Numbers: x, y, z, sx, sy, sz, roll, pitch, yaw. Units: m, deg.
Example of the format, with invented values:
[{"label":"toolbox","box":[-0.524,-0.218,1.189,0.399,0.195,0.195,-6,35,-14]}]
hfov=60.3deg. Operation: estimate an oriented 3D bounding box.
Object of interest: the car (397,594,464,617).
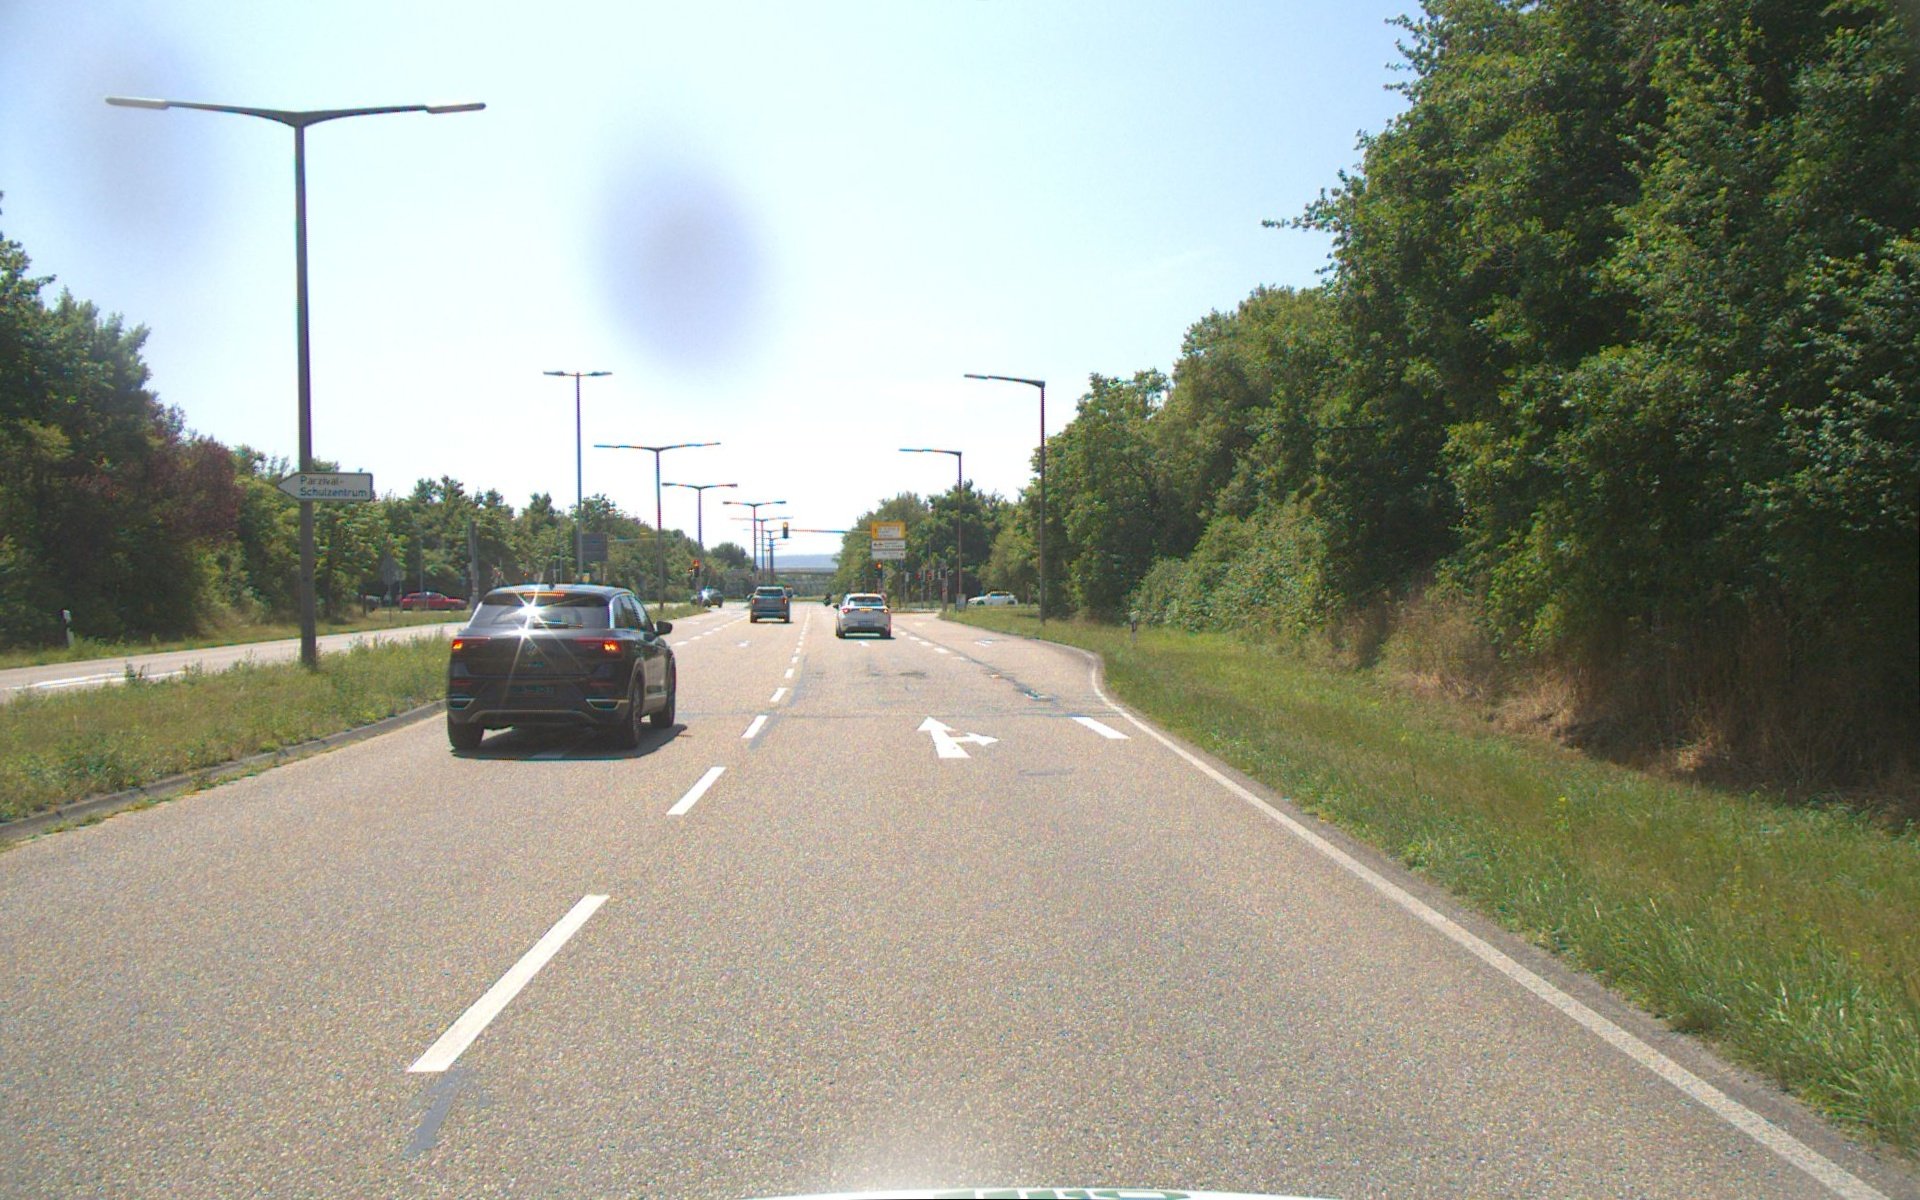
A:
[{"label":"car","box":[-38.466,0.388,120.316,4.444,1.670,1.972,0,0,-13]}]

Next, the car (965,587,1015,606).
[{"label":"car","box":[2.597,-0.336,143.294,4.030,1.552,1.932,-1,0,-13]}]

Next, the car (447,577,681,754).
[{"label":"car","box":[-3.891,0.582,16.863,1.721,1.583,3.996,0,0,-5]}]

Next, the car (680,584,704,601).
[{"label":"car","box":[-24.864,-0.725,153.641,1.791,1.545,3.998,0,0,-3]}]

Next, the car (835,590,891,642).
[{"label":"car","box":[-3.225,0.511,55.032,1.761,1.611,3.997,-1,0,-3]}]

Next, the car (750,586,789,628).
[{"label":"car","box":[-9.191,0.332,79.943,1.721,1.962,3.996,0,0,-5]}]

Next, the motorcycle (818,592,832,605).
[{"label":"motorcycle","box":[-14.142,-0.170,172.711,1.397,1.303,2.566,-2,0,-5]}]
